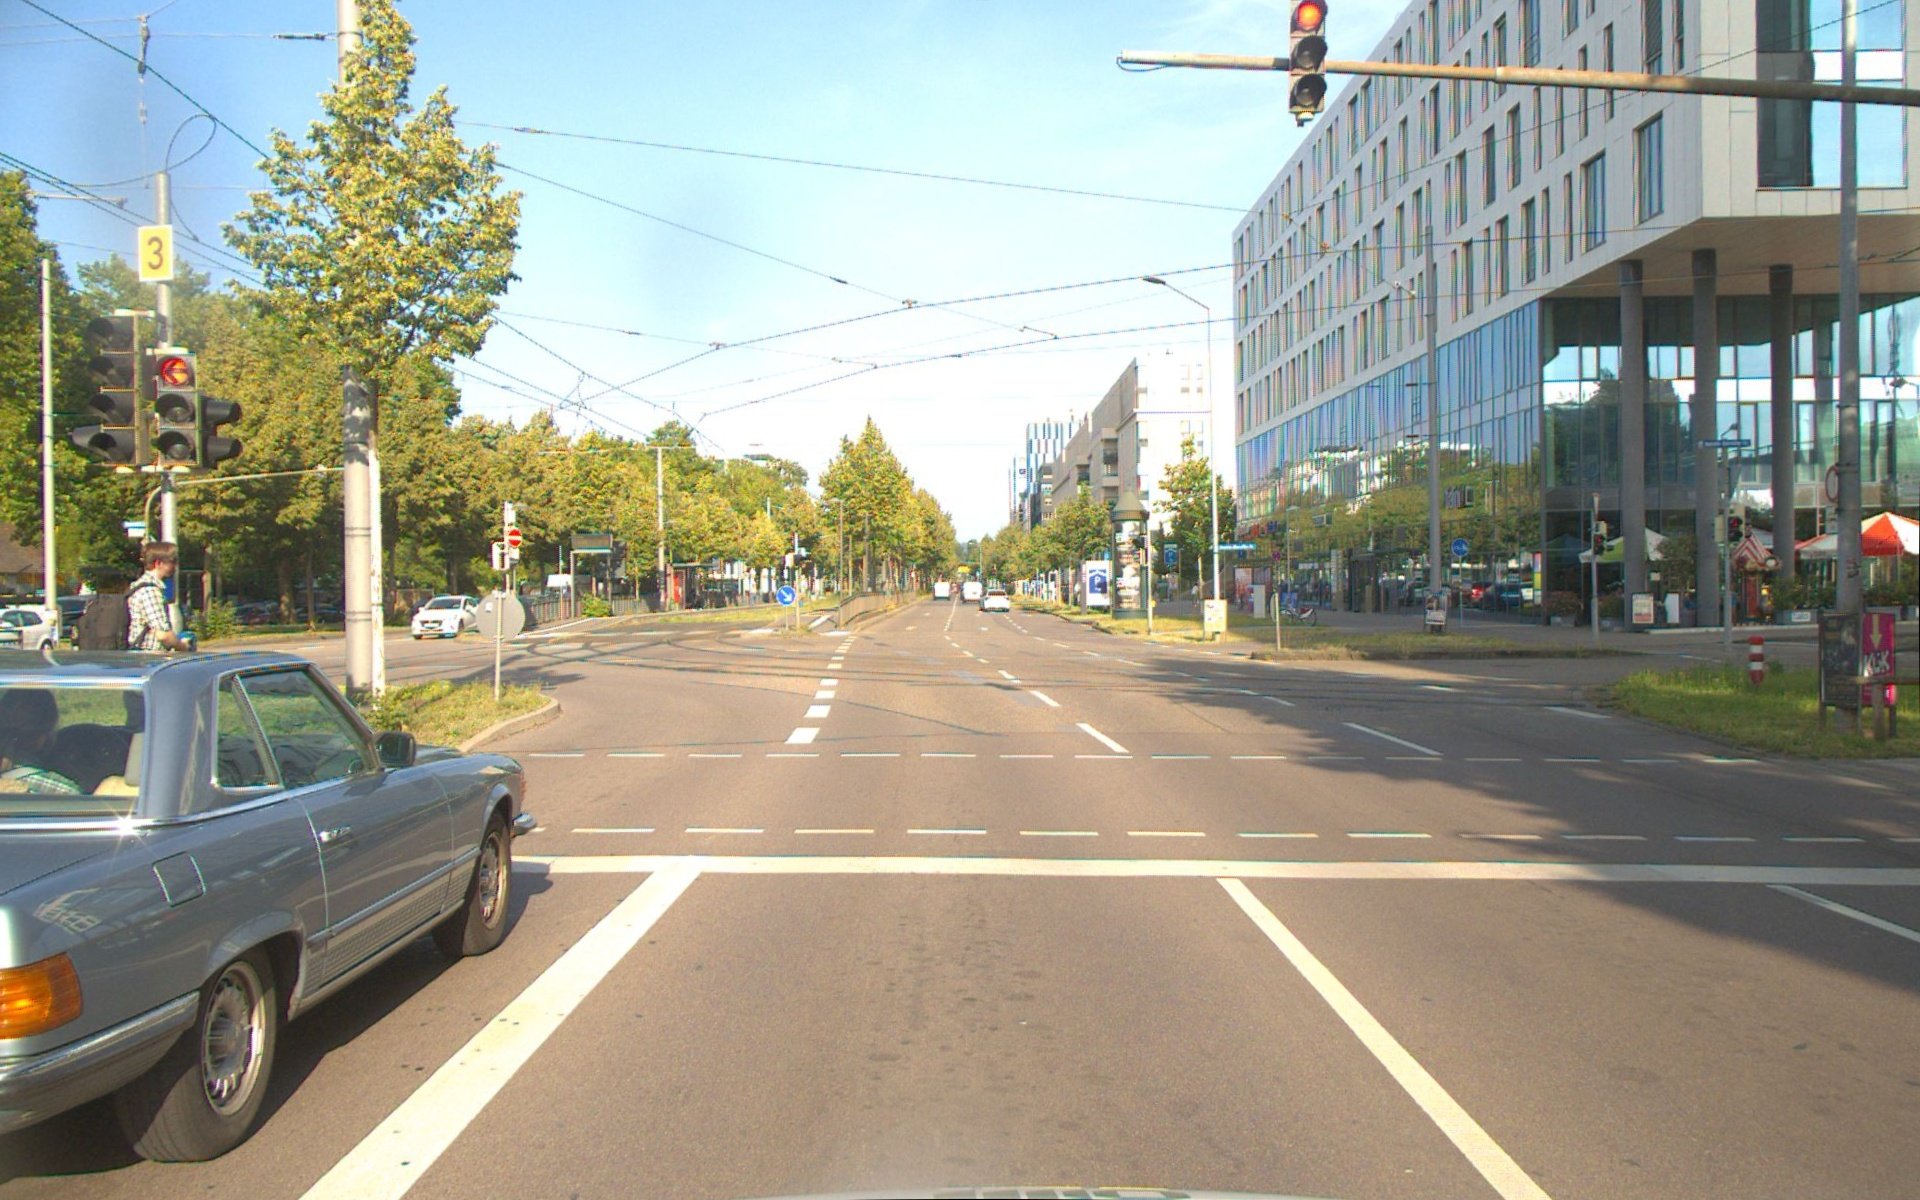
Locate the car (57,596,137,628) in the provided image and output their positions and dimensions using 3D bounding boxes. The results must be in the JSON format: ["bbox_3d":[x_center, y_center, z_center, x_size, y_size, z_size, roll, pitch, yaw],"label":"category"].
[{"bbox_3d":[-45.558,0.624,87.415,1.841,1.586,4.003,-1,0,5],"label":"car"}]

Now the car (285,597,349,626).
[{"bbox_3d":[-36.919,0.621,95.069,1.841,1.586,4.003,-1,0,5],"label":"car"}]

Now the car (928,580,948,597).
[{"bbox_3d":[-2.243,-1.202,170.915,1.973,1.713,4.001,1,1,1],"label":"car"}]

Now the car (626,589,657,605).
[{"bbox_3d":[-31.263,-0.291,162.428,1.841,1.586,4.003,-1,0,5],"label":"car"}]

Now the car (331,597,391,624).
[{"bbox_3d":[-36.422,0.631,100.642,1.841,1.586,4.003,-1,0,5],"label":"car"}]

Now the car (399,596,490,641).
[{"bbox_3d":[-18.539,0.661,59.693,1.952,1.530,4.093,-1,-1,0],"label":"car"}]

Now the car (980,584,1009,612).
[{"bbox_3d":[2.202,-0.134,107.397,1.826,1.713,4.001,1,1,1],"label":"car"}]

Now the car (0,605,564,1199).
[{"bbox_3d":[-2.666,0.747,5.391,1.728,1.353,4.399,1,1,-1],"label":"car"}]

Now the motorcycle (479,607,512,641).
[{"bbox_3d":[-18.709,0.956,66.602,0.802,1.285,2.547,0,1,-5],"label":"motorcycle"}]

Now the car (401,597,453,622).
[{"bbox_3d":[-35.463,0.633,110.096,1.841,1.586,4.003,-1,0,5],"label":"car"}]

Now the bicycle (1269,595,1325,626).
[{"bbox_3d":[12.126,0.367,59.539,0.767,1.050,1.849,-1,3,-43],"label":"bicycle"}]

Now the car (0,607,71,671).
[{"bbox_3d":[-25.114,1.021,42.797,1.838,1.554,4.224,-1,1,1],"label":"car"}]

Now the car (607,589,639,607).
[{"bbox_3d":[-31.795,-0.203,156.004,1.841,1.586,4.003,-1,0,5],"label":"car"}]

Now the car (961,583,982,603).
[{"bbox_3d":[1.021,-0.658,145.795,1.826,1.713,4.001,1,1,1],"label":"car"}]
